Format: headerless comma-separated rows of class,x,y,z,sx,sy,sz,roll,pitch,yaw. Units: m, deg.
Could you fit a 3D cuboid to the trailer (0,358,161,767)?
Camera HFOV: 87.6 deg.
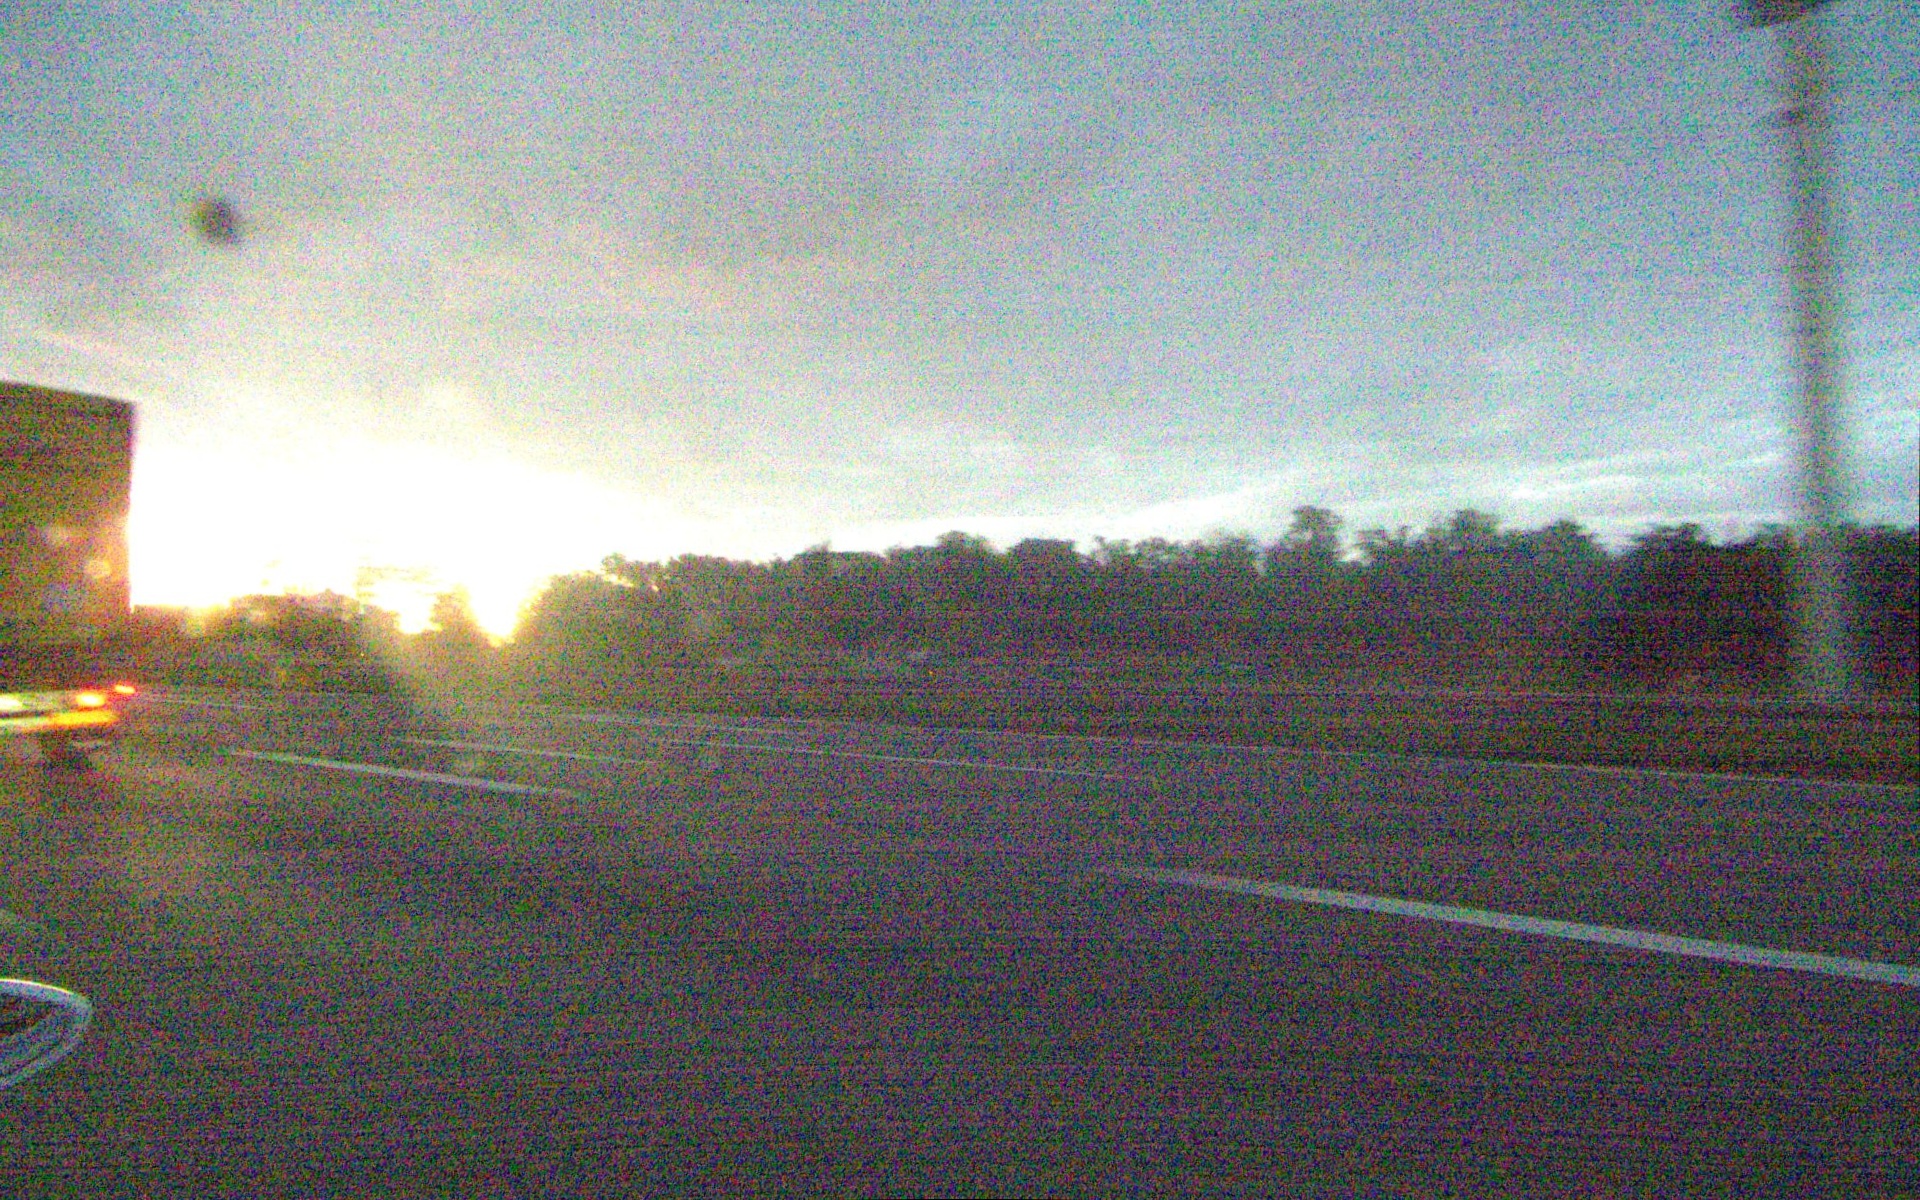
trailer,-13.395,-0.333,12.392,8.703,4.124,2.717,-1,-1,32
